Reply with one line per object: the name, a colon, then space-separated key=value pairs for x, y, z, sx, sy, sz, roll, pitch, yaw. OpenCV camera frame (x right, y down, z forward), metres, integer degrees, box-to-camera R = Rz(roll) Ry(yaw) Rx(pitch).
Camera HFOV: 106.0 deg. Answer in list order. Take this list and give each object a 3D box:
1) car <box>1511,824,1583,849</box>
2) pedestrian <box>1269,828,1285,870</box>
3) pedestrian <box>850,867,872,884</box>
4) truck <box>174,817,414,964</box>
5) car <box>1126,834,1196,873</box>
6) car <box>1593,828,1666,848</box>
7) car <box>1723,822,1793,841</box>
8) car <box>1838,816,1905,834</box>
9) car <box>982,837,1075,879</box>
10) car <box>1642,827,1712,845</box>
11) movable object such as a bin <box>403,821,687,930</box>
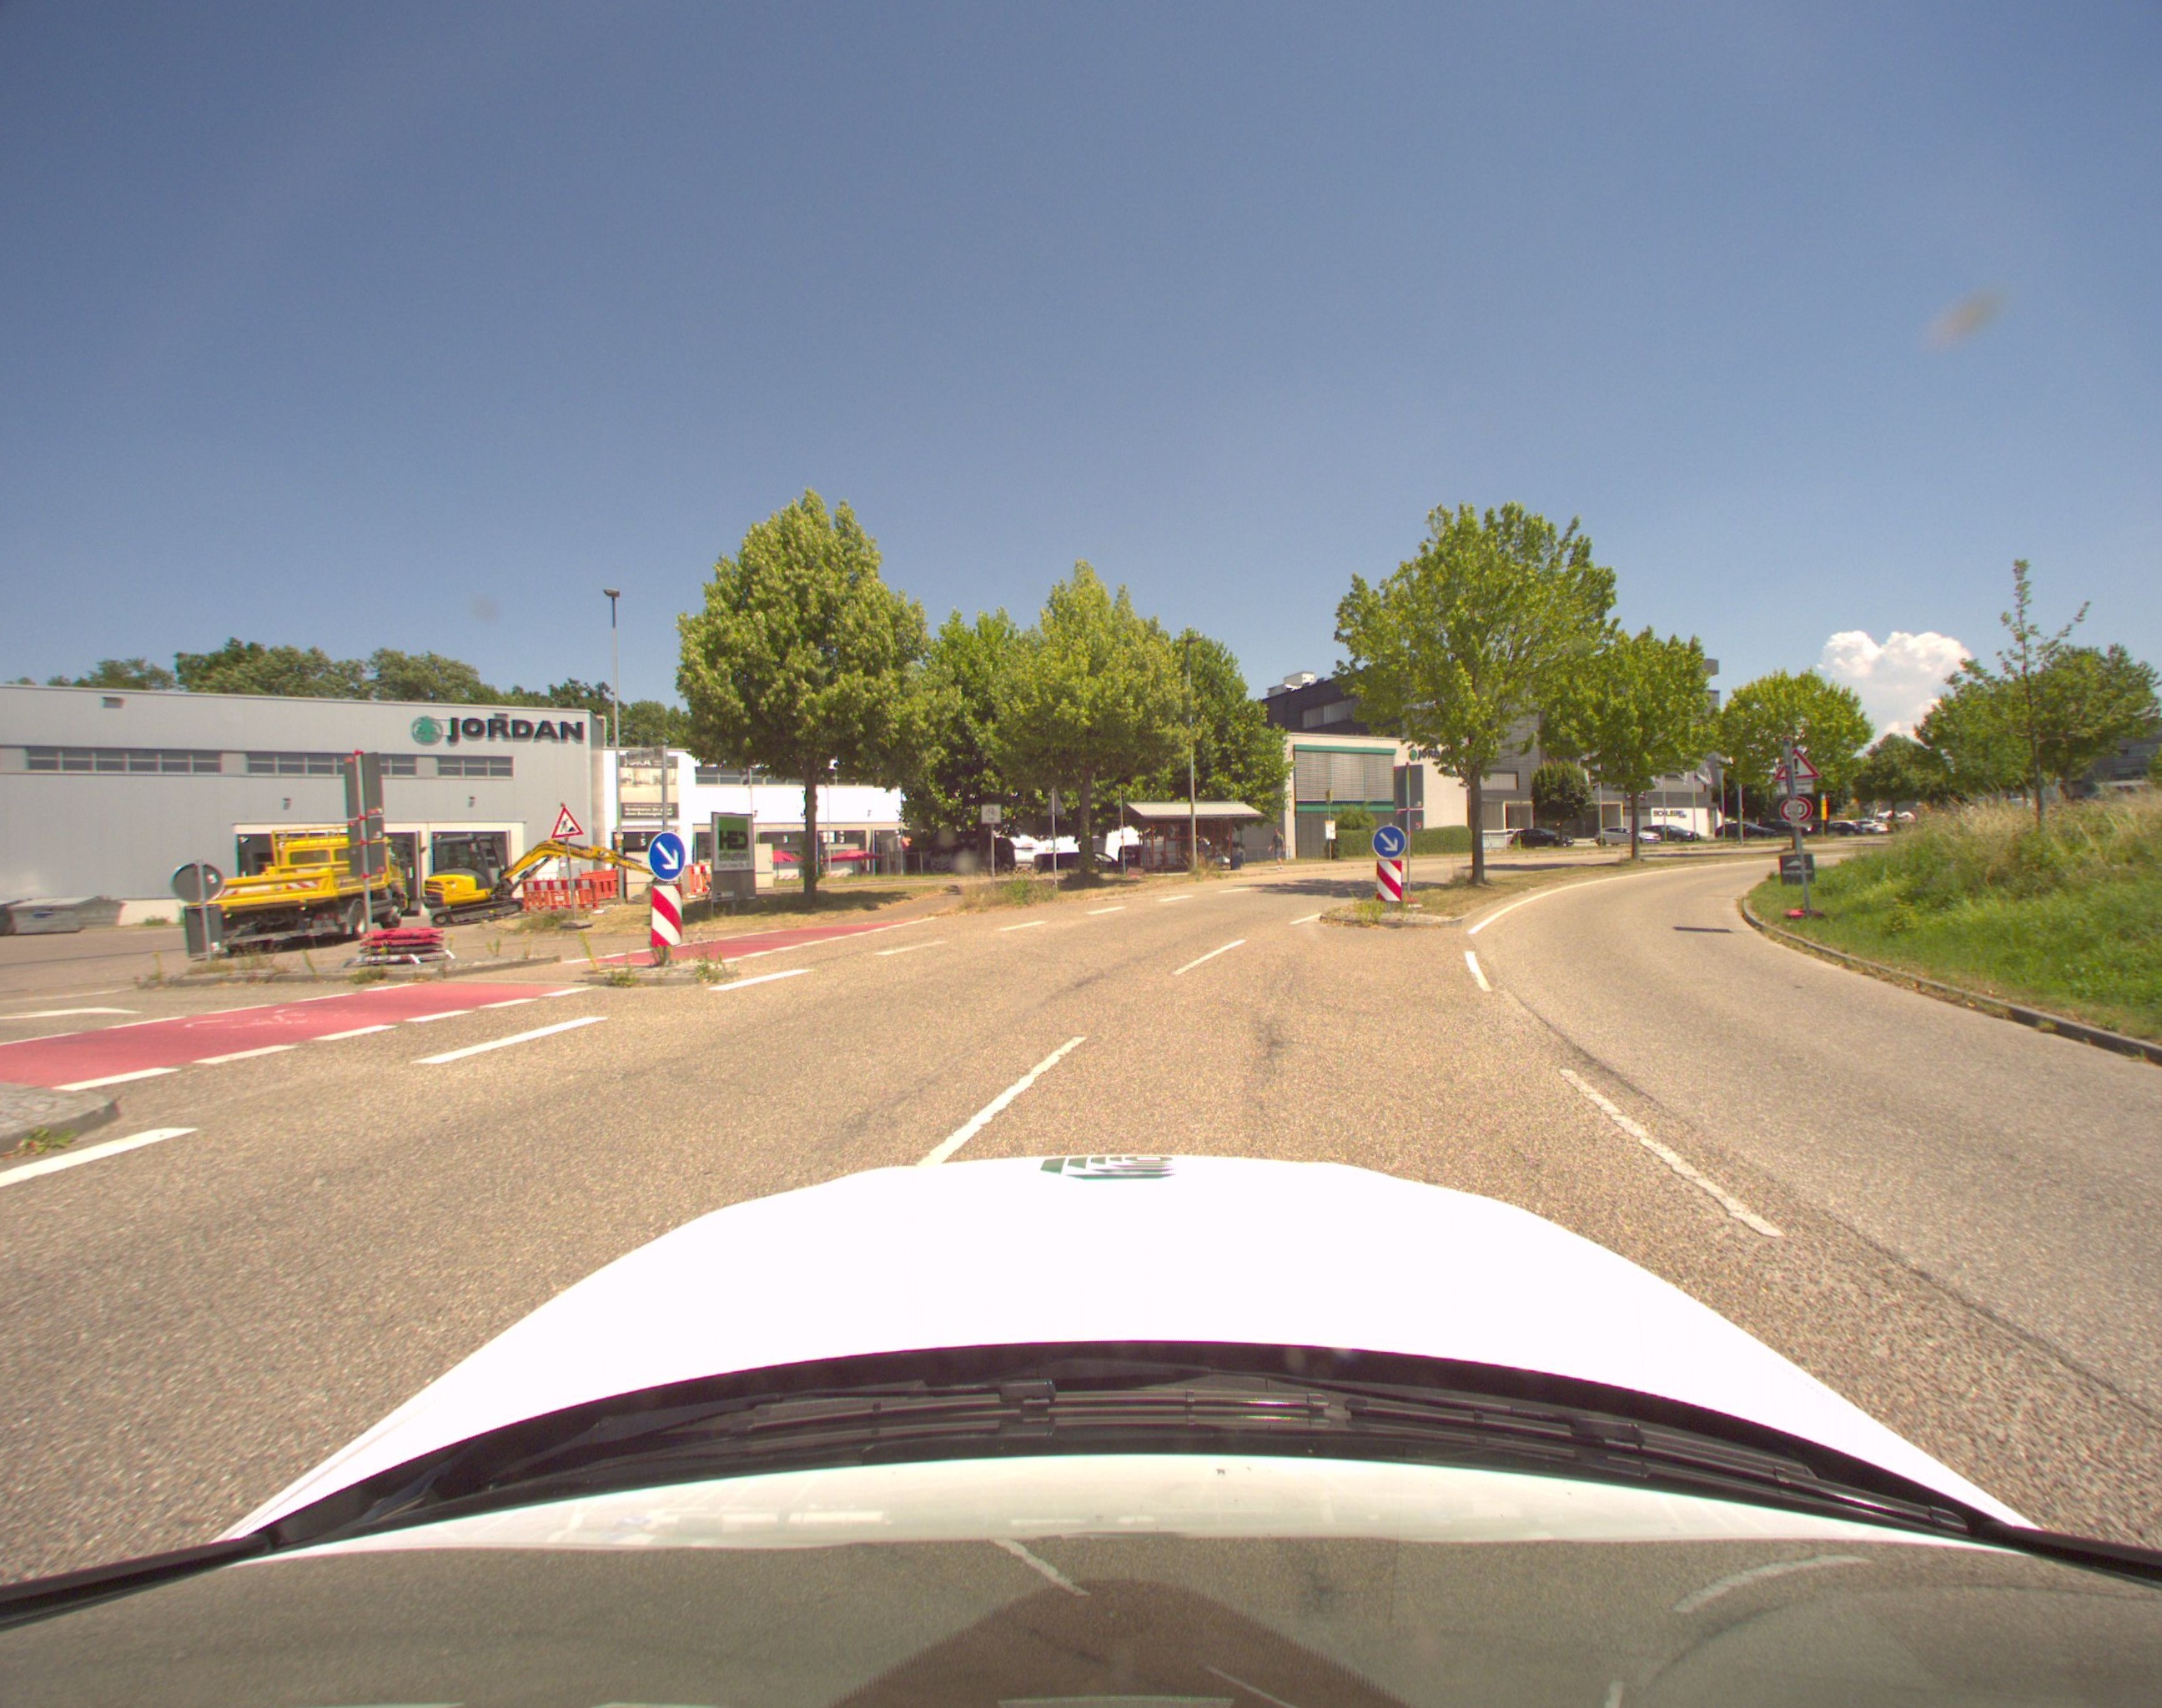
car: x=31.165 y=-1.153 z=54.556 sx=1.708 sy=1.379 sz=3.886 roll=-3 pitch=0 yaw=-24
pedestrian: x=7.927 y=-0.196 z=33.000 sx=0.527 sy=1.670 sz=0.580 roll=-1 pitch=-2 yaw=4
pedestrian: x=-10.121 y=0.983 z=37.399 sx=0.861 sy=0.695 sz=0.408 roll=-3 pitch=0 yaw=-1
truck: x=-20.286 y=0.738 z=21.522 sx=2.602 sy=3.135 sz=6.368 roll=-5 pitch=3 yaw=-27
car: x=4.442 y=0.006 z=45.873 sx=1.555 sy=2.014 sz=4.219 roll=1 pitch=-3 yaw=-34
car: x=39.714 y=-1.139 z=59.073 sx=1.496 sy=1.183 sz=4.241 roll=0 pitch=-2 yaw=-24
car: x=53.520 y=-1.749 z=64.469 sx=1.708 sy=1.274 sz=3.860 roll=-3 pitch=0 yaw=-24
car: x=69.384 y=-2.552 z=71.522 sx=1.708 sy=1.274 sz=3.860 roll=-3 pitch=0 yaw=-24
car: x=-2.495 y=0.176 z=38.915 sx=4.003 sy=1.728 sz=1.827 roll=-3 pitch=0 yaw=-22
car: x=44.714 y=-1.338 z=61.206 sx=1.708 sy=1.182 sz=3.860 roll=-3 pitch=0 yaw=-24
movable object such as a bin: x=-15.513 y=0.566 z=24.110 sx=6.577 sy=2.581 sz=1.987 roll=-4 pitch=0 yaw=-19
